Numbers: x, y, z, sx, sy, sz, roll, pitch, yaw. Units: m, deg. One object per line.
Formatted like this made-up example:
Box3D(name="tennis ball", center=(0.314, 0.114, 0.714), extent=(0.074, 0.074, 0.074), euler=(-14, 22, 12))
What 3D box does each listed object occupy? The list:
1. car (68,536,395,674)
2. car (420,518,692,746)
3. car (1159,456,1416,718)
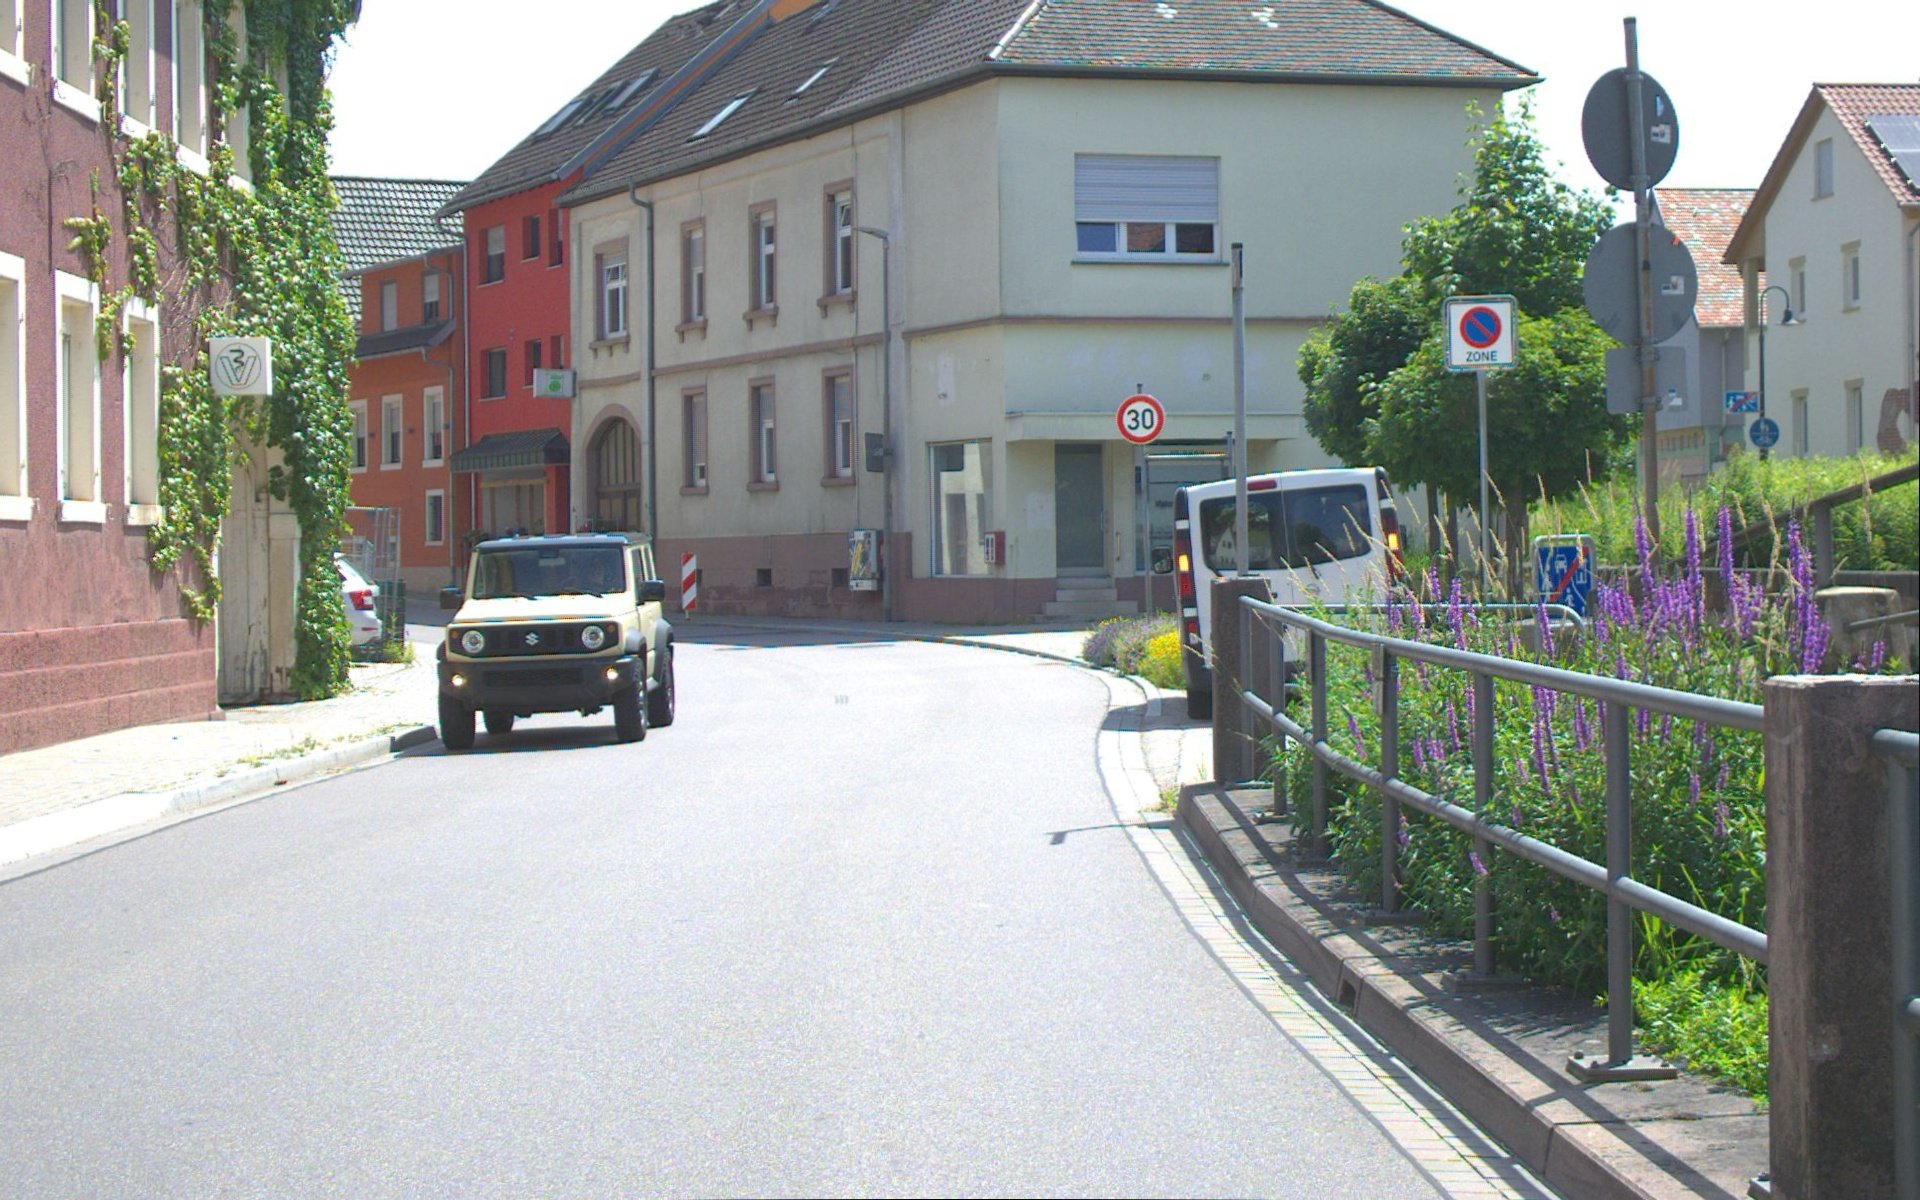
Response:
Box3D(name="car", center=(-9.123, 0.073, 42.908), extent=(3.996, 1.525, 1.995), euler=(-3, -2, 42))
Box3D(name="car", center=(-3.298, 0.210, 28.663), extent=(1.621, 1.713, 3.473), euler=(-3, 1, 3))
Box3D(name="car", center=(2.666, -0.138, 28.617), extent=(1.898, 1.974, 3.113), euler=(-3, 1, 3))
